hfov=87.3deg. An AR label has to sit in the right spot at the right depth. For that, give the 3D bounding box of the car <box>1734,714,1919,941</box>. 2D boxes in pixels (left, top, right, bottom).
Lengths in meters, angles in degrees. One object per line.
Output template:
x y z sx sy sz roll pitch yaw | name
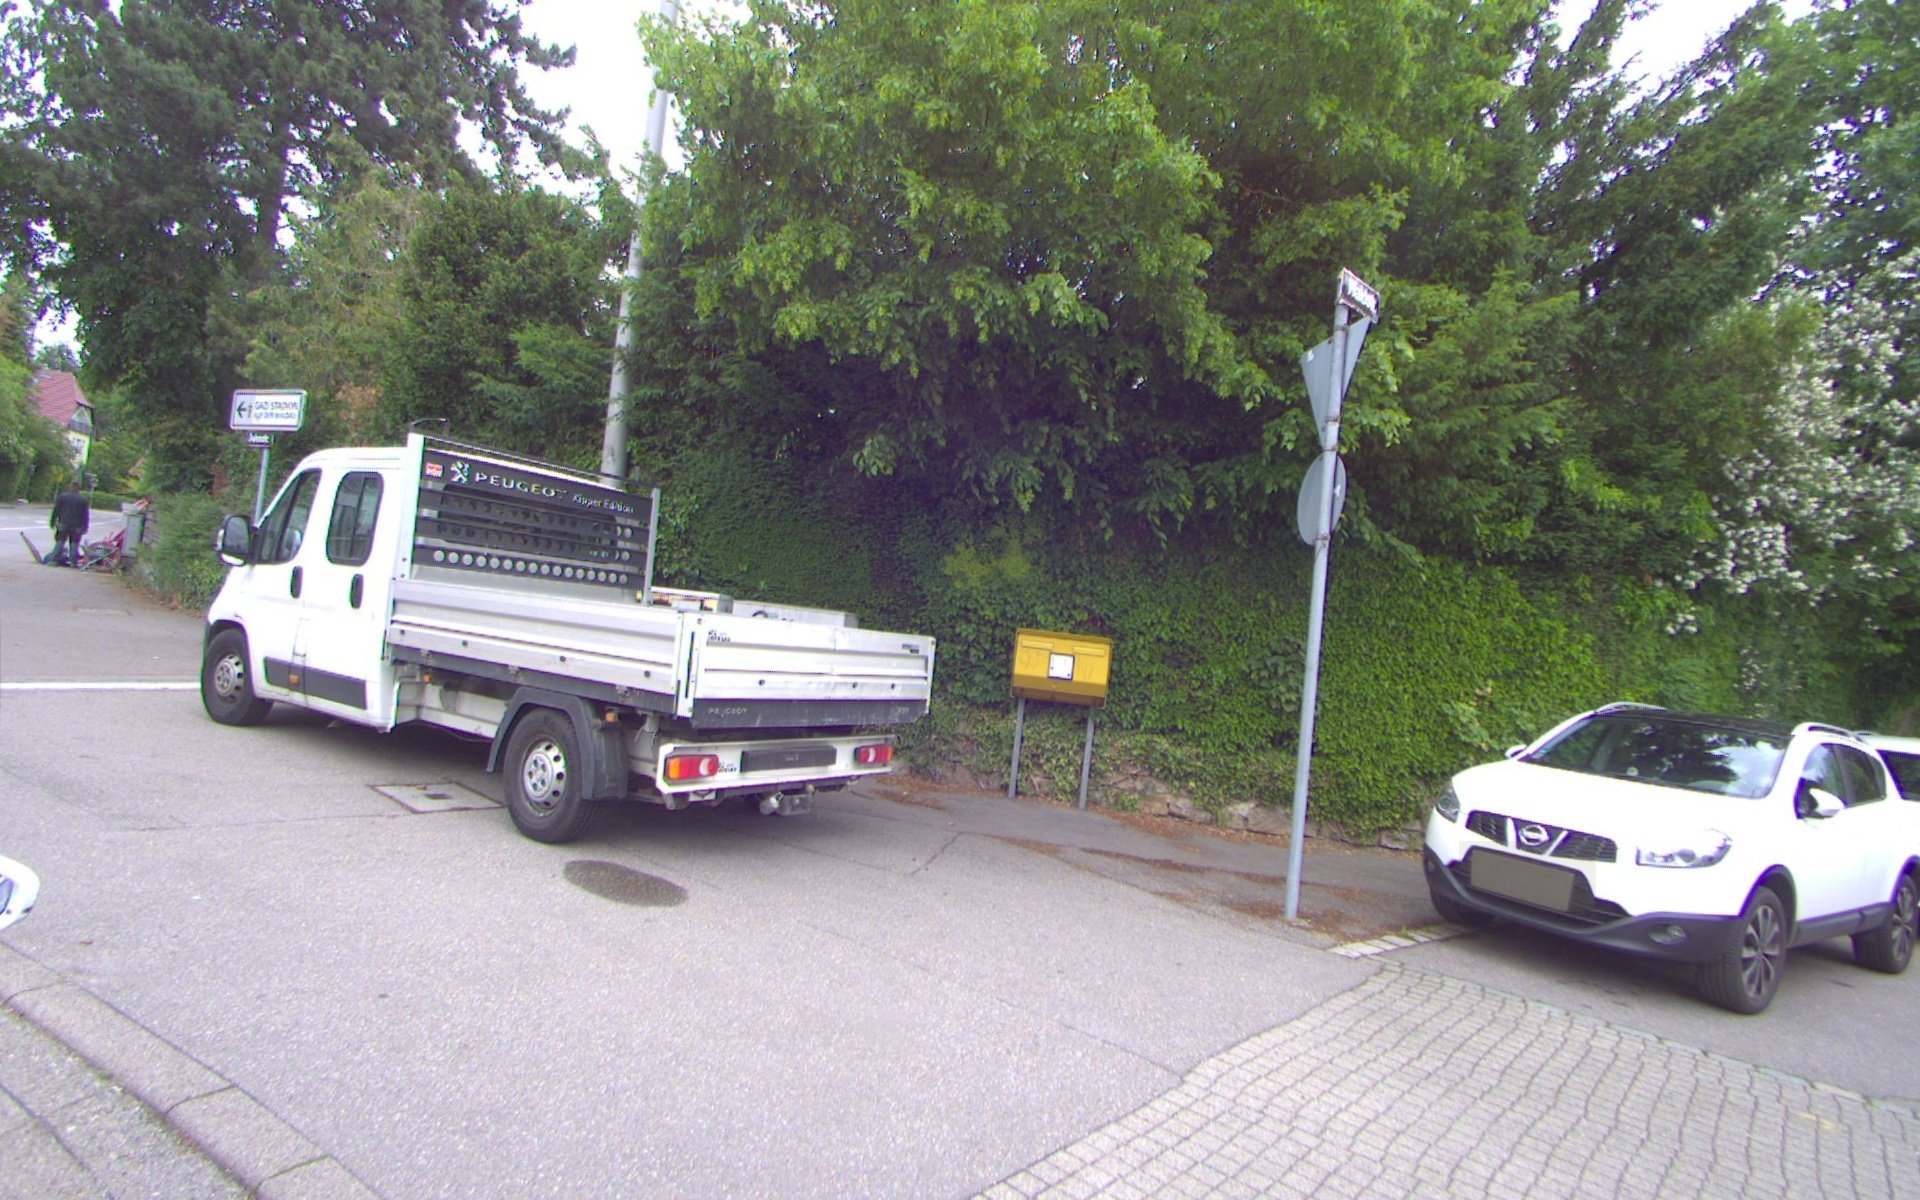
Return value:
9.048 2.117 9.469 4.041 1.641 1.781 9 -3 -38 | car

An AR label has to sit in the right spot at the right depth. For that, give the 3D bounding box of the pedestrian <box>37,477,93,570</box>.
-19.584 -1.673 22.022 0.549 1.929 0.597 7 -1 32 | pedestrian

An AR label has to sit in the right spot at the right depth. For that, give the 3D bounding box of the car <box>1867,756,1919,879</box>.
13.795 2.995 13.437 4.040 1.440 1.781 8 -2 -38 | car

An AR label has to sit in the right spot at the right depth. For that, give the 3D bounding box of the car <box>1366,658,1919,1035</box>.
4.769 1.471 6.656 4.098 1.641 1.783 9 -2 -34 | car

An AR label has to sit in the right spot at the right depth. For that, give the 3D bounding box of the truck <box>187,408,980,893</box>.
-2.931 0.086 7.161 5.631 2.270 2.211 6 -2 34 | truck
